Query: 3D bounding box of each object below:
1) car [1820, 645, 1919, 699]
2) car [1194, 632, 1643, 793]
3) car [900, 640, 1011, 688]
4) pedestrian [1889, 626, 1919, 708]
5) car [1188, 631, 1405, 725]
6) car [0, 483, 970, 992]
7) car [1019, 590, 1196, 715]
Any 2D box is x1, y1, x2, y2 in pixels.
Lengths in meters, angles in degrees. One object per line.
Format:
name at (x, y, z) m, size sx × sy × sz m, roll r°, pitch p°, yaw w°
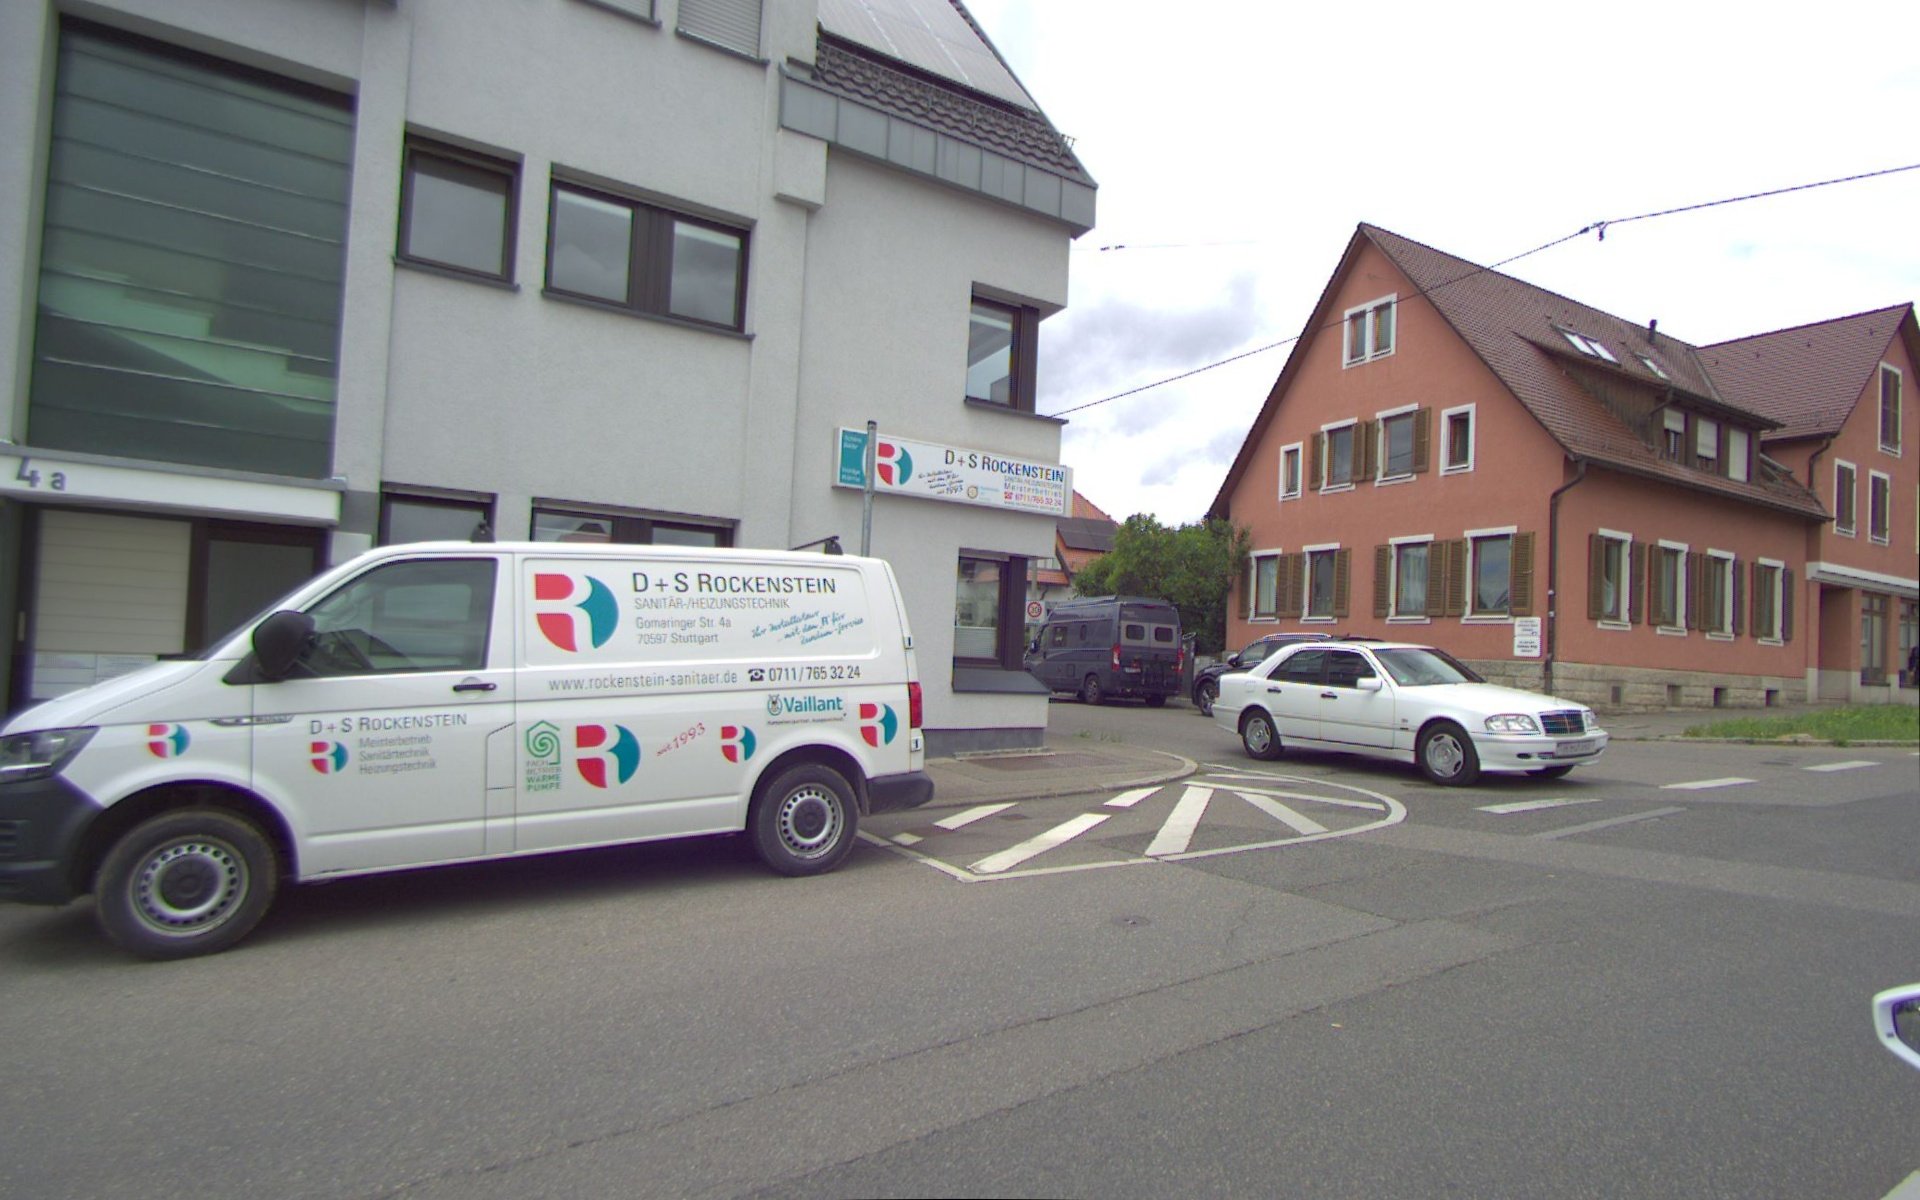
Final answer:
car at (27.644, 2.136, 29.817) m, size 1.721 × 1.494 × 2.818 m, roll 3°, pitch -2°, yaw -28°
car at (4.953, 1.144, 11.654) m, size 1.973 × 1.464 × 4.540 m, roll 1°, pitch -3°, yaw -26°
car at (-0.255, 2.189, 34.971) m, size 2.238 × 1.528 × 4.809 m, roll 2°, pitch -3°, yaw -22°
pedestrian at (21.723, 1.514, 22.746) m, size 0.883 × 1.808 × 0.796 m, roll 2°, pitch -1°, yaw -32°
car at (6.374, 1.495, 19.505) m, size 1.778 × 1.610 × 4.038 m, roll 2°, pitch -4°, yaw -23°
car at (-2.412, 0.626, 5.897) m, size 4.706 × 2.032 × 1.804 m, roll 1°, pitch -3°, yaw -30°
car at (3.633, 1.231, 25.882) m, size 2.238 × 2.812 × 4.925 m, roll 2°, pitch 1°, yaw -22°
